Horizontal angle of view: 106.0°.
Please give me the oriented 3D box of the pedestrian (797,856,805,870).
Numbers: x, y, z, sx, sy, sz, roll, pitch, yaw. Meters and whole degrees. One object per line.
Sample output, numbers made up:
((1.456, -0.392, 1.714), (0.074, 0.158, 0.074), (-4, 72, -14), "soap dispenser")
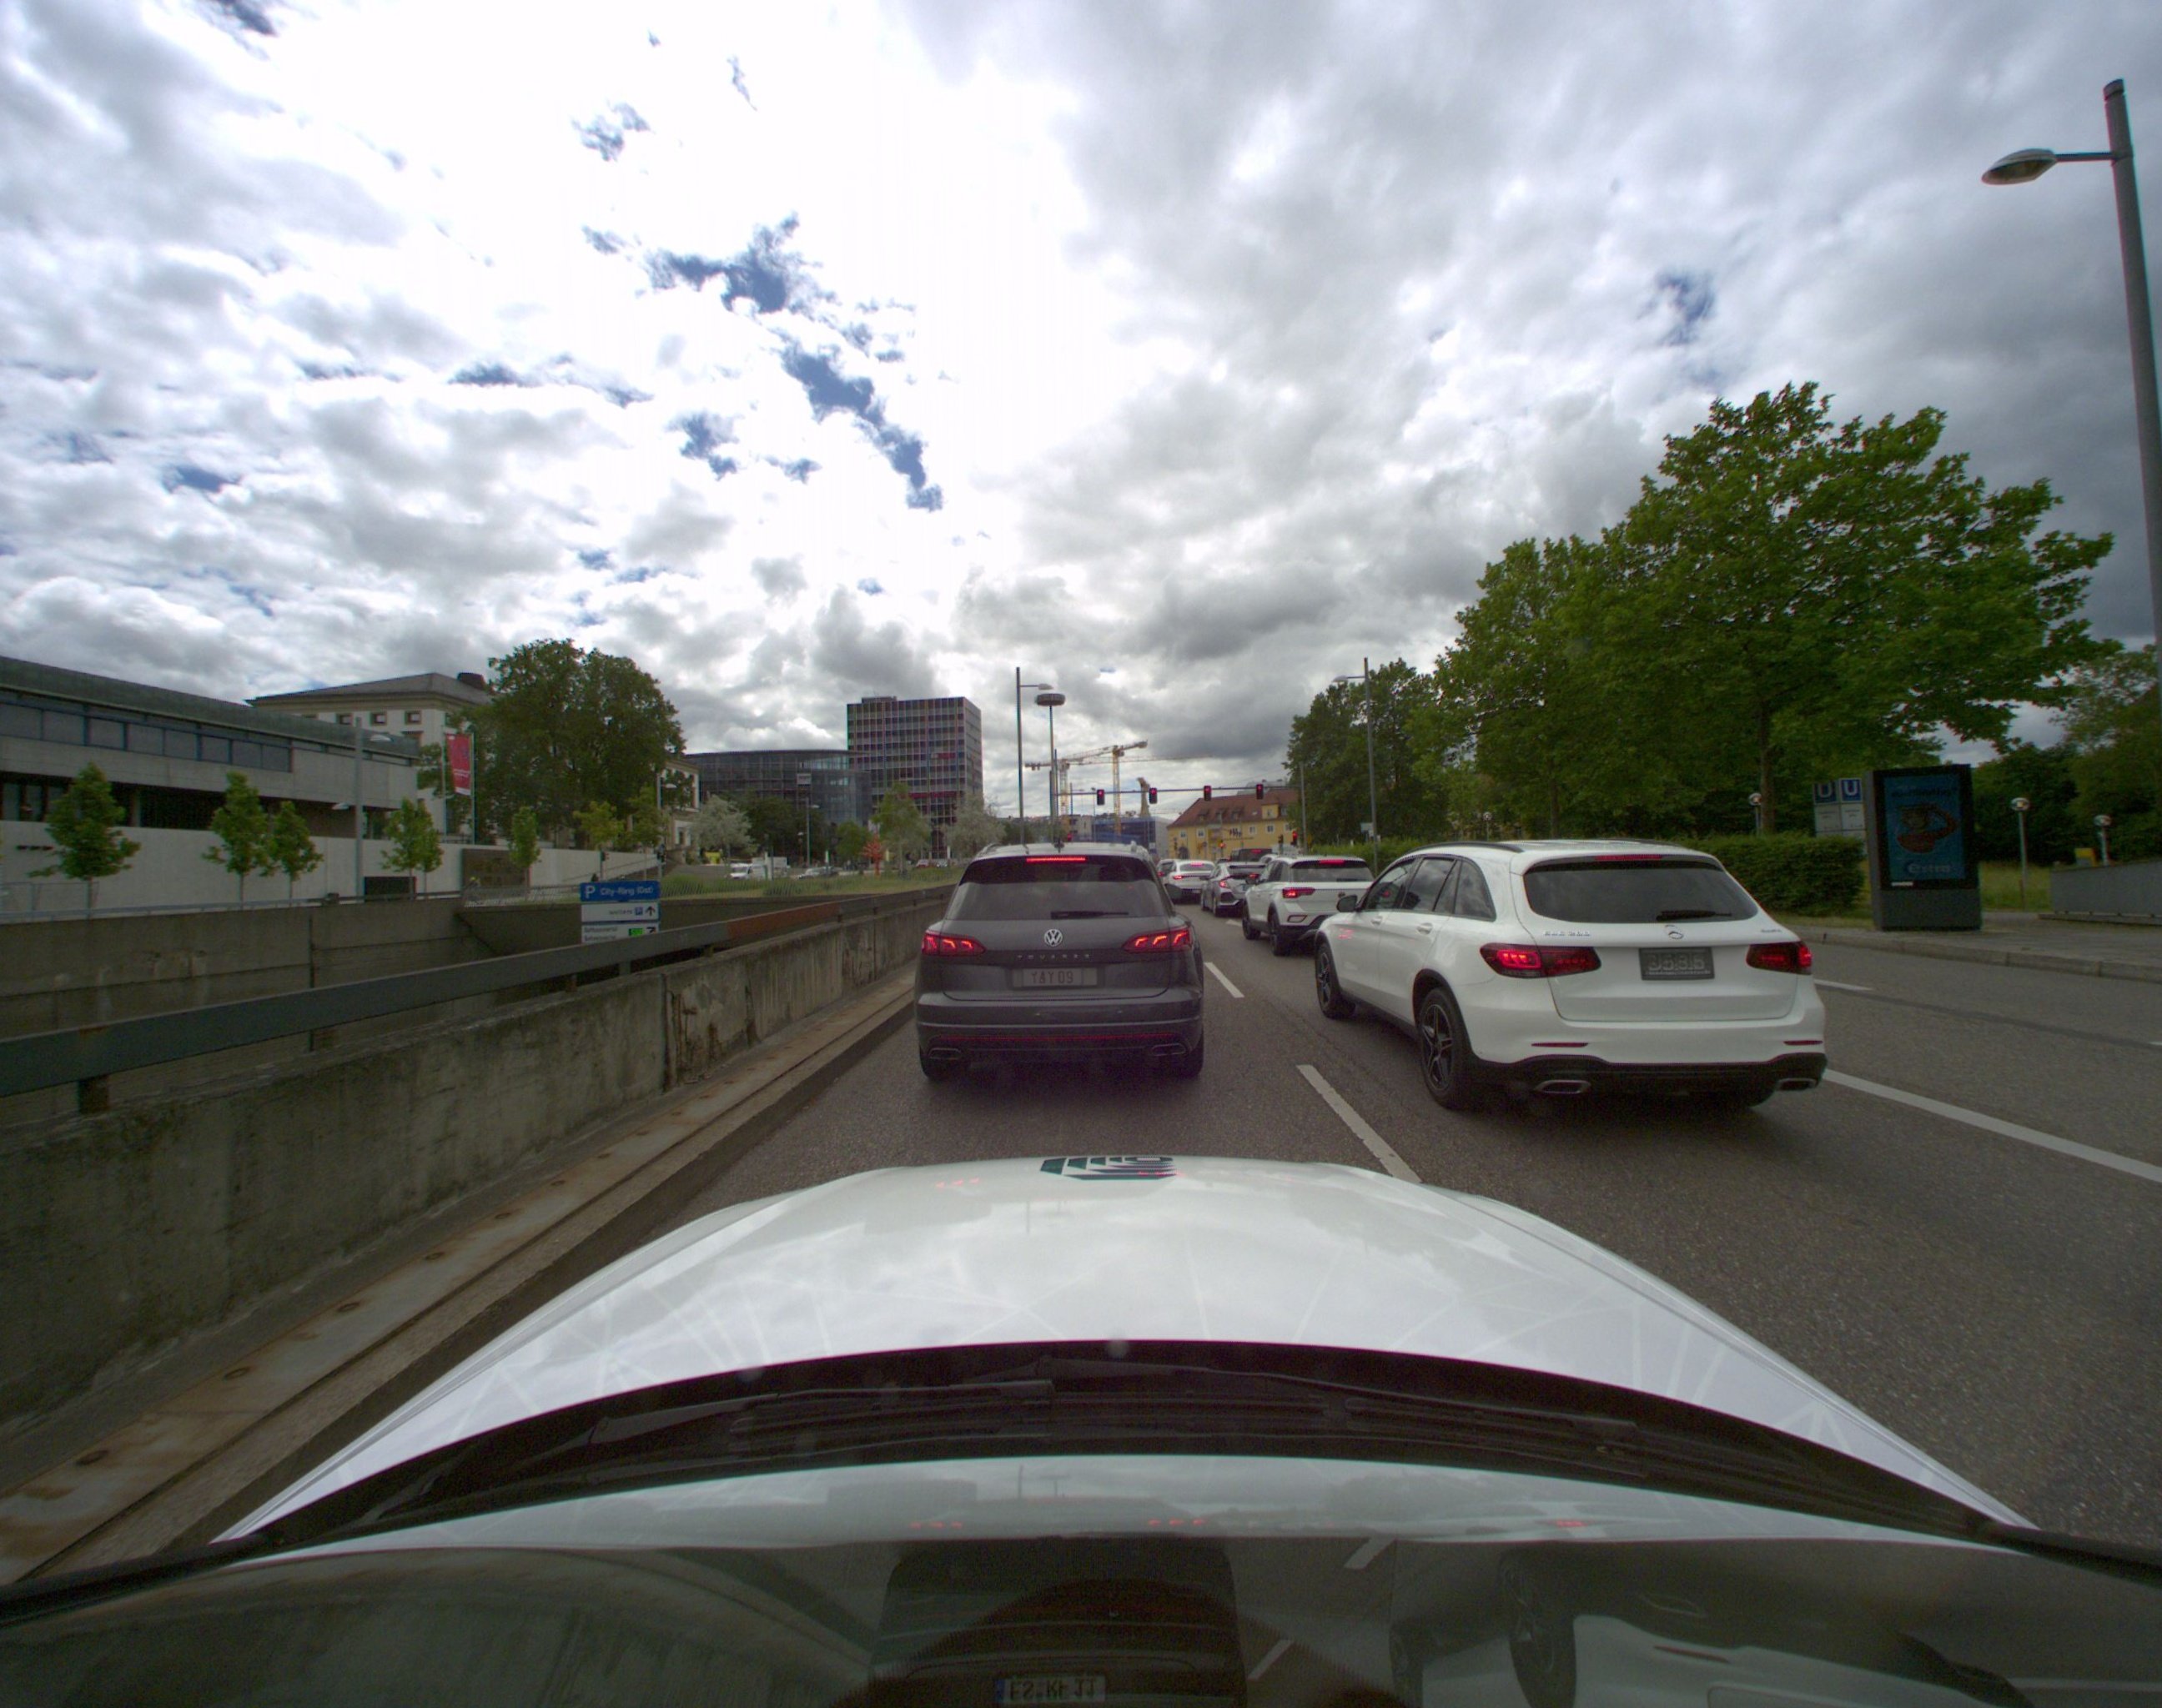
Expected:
((-40.249, 1.301, 117.142), (0.735, 2.013, 0.793), (-2, 1, 2), "pedestrian")

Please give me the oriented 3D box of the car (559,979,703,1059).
((-18.938, 6.898, 34.746), (2.610, 2.311, 5.936), (0, -2, 2), "car")

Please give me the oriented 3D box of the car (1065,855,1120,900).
((0.475, 0.869, 31.140), (1.944, 1.600, 3.932), (0, 0, 2), "car")

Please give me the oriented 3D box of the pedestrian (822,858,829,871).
((-40.670, 1.649, 129.700), (0.783, 2.013, 0.745), (-2, 1, 23), "pedestrian")

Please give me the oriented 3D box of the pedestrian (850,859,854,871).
((-40.911, 1.976, 145.472), (0.739, 2.013, 0.789), (-2, 1, -14), "pedestrian")

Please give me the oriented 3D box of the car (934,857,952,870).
((-23.943, 1.681, 141.431), (1.986, 2.013, 4.694), (-2, 1, 1), "car")

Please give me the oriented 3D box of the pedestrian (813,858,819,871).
((-41.884, 1.614, 128.761), (0.741, 2.013, 1.076), (-2, 1, -20), "pedestrian")

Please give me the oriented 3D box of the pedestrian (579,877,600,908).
((-33.009, 2.553, 54.721), (0.829, 2.013, 0.795), (-2, 0, 10), "pedestrian")

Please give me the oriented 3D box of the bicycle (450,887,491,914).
((-36.659, 2.794, 48.951), (0.723, 1.536, 2.190), (0, -2, 1), "bicycle")

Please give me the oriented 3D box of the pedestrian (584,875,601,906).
((-33.210, 2.484, 55.373), (0.797, 2.013, 0.732), (-2, 1, -43), "pedestrian")

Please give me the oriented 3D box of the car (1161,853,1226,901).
((3.902, 0.788, 28.953), (1.918, 1.529, 4.493), (-1, -1, 3), "car")

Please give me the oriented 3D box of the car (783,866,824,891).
((-25.678, 2.222, 75.507), (1.985, 2.013, 4.695), (-2, 1, 3), "car")

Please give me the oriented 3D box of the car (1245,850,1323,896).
((7.960, 0.691, 32.362), (1.988, 1.640, 4.303), (-1, 1, -1), "car")

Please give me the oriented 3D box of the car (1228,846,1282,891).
((8.261, 0.680, 39.044), (1.902, 2.014, 4.014), (0, -1, 3), "car")

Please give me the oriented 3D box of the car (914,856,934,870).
((-24.146, 1.374, 125.105), (1.986, 2.013, 4.693), (-2, 1, 1), "car")

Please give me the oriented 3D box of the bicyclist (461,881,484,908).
((-36.660, 2.432, 49.051), (0.728, 1.554, 0.776), (0, -2, 1), "bicyclist")

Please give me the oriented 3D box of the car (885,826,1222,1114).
((-0.106, 0.694, 6.773), (1.944, 1.651, 4.001), (-1, 0, 2), "car")

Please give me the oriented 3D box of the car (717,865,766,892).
((-28.814, 2.045, 69.281), (1.985, 2.013, 4.695), (-2, 1, 3), "car")

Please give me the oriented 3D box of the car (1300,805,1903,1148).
((3.147, 0.612, 6.249), (1.918, 1.653, 4.493), (-1, 0, 3), "car")

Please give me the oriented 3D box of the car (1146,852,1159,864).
((9.705, 0.568, 111.307), (1.612, 1.627, 4.002), (0, -2, 3), "car")

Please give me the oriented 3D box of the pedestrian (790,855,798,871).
((-38.782, 1.234, 110.058), (0.735, 2.014, 0.793), (-2, -3, 3), "pedestrian")

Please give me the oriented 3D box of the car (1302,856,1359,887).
((12.116, 0.863, 39.819), (1.921, 1.460, 4.535), (0, -1, 7), "car")

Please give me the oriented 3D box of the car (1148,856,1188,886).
((4.660, 0.923, 44.052), (1.918, 1.529, 4.050), (-1, -1, 3), "car")

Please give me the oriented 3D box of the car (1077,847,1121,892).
((0.875, 0.707, 38.673), (1.944, 2.018, 3.932), (0, 0, 2), "car")

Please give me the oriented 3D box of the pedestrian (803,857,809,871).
((-42.869, 1.561, 126.832), (0.741, 2.013, 0.914), (-2, 1, -22), "pedestrian")

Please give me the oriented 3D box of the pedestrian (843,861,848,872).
((-43.145, 2.253, 148.968), (0.741, 2.013, 0.787), (-2, 1, -20), "pedestrian")

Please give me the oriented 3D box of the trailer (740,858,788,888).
((-28.840, 1.672, 74.386), (2.030, 2.604, 5.511), (0, 0, 2), "trailer")

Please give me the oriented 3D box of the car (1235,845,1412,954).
((3.941, 0.695, 14.065), (1.918, 1.551, 4.493), (-1, -1, 3), "car")

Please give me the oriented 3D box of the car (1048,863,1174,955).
((0.520, 0.872, 14.498), (1.944, 1.384, 3.932), (0, 0, 2), "car")

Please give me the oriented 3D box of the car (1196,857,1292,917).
((4.313, 0.844, 22.211), (1.918, 1.432, 4.493), (-1, -1, 3), "car")

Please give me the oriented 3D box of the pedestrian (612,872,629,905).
((-29.723, 2.221, 52.593), (0.865, 2.013, 0.623), (-2, 1, -30), "pedestrian")

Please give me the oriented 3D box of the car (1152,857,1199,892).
((4.340, 0.932, 37.767), (1.918, 1.529, 4.050), (-1, -1, 3), "car")

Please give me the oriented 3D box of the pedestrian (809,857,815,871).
((-41.859, 1.561, 126.714), (0.741, 2.013, 0.914), (-2, 1, -22), "pedestrian")
